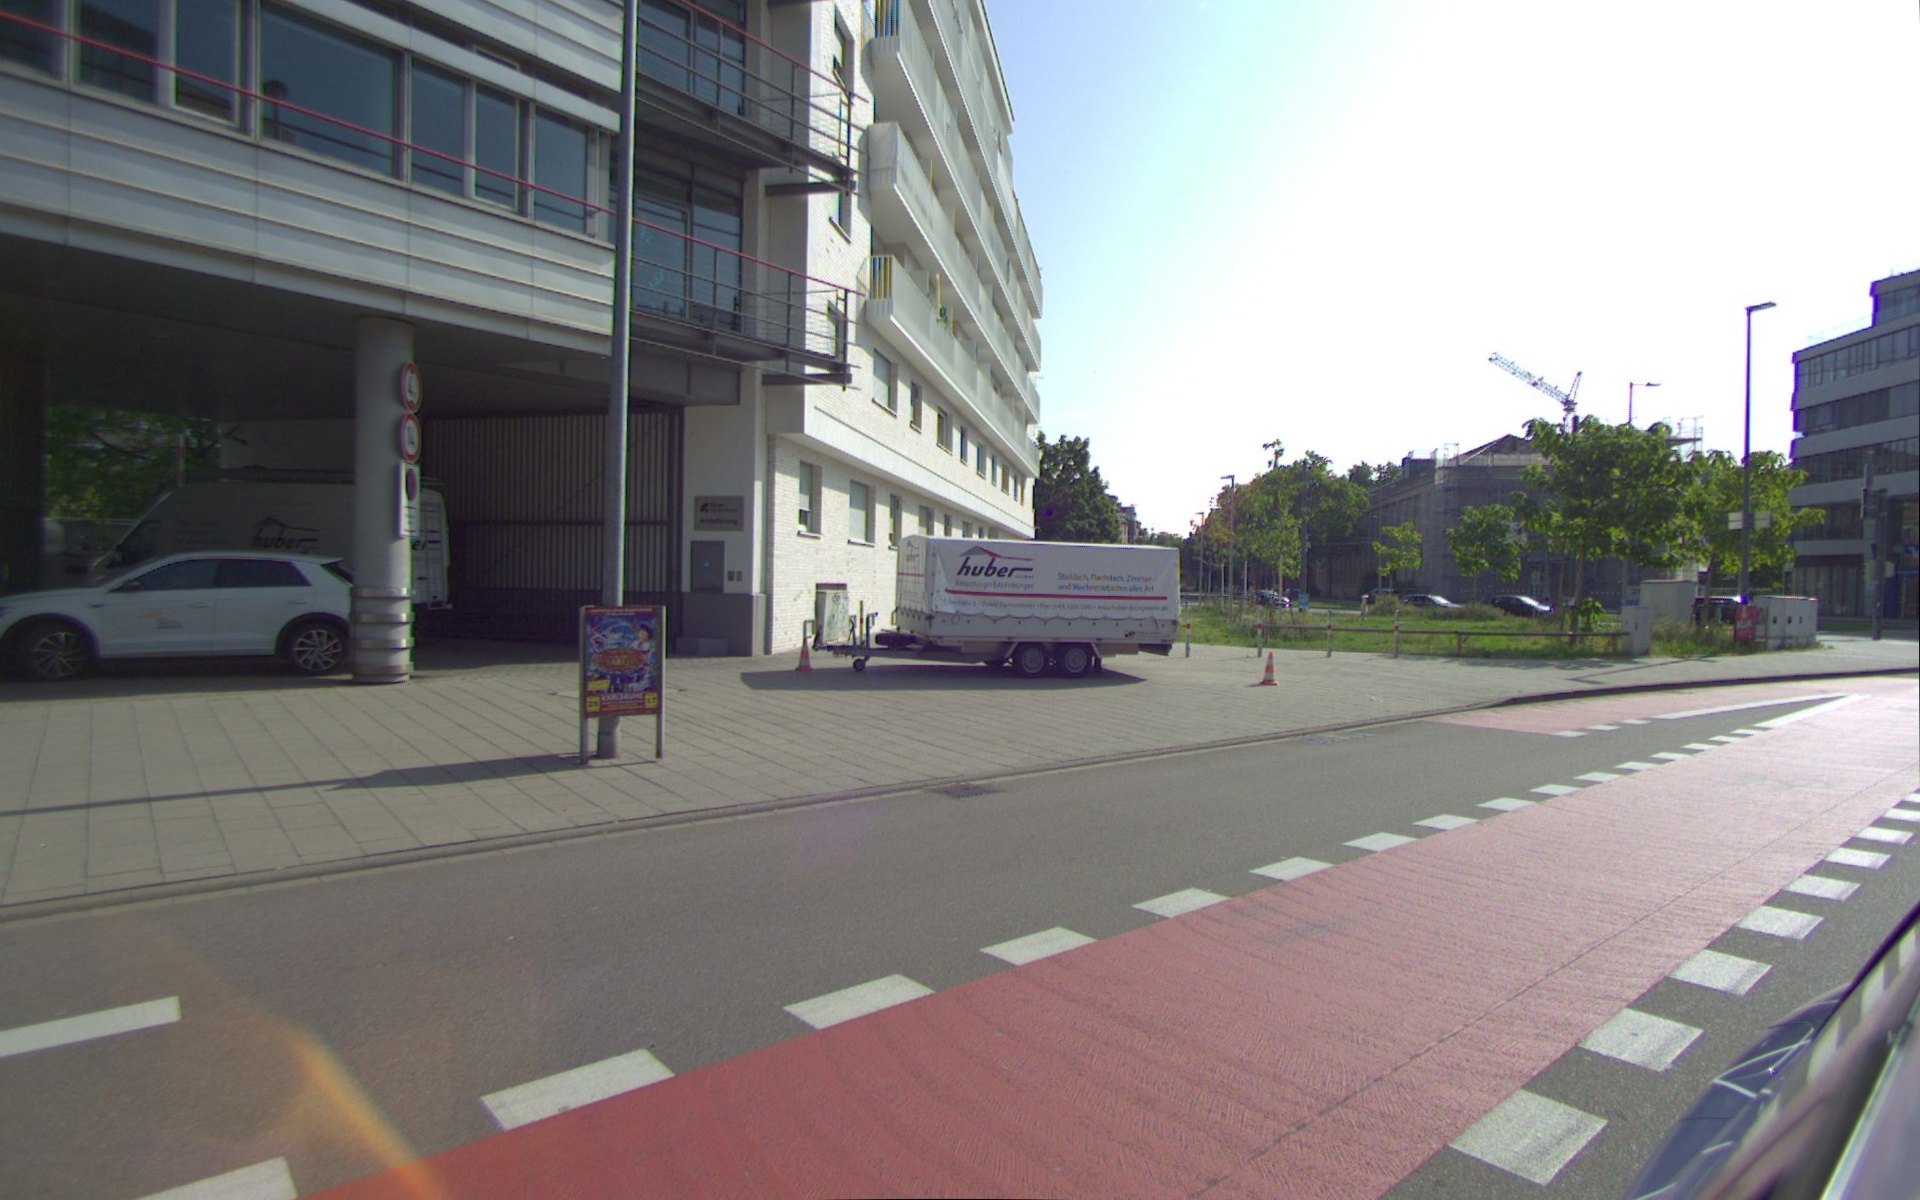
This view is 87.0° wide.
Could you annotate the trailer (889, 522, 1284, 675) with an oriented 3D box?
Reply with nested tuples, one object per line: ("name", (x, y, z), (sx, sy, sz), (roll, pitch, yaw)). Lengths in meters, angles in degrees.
("trailer", (1.970, -0.014, 16.364), (5.824, 2.178, 2.402), (1, 1, -16))

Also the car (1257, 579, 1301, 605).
("car", (26.400, -0.667, 83.929), (1.959, 2.039, 4.006), (1, 1, -8))

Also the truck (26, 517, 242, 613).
("truck", (-17.693, -0.724, 21.881), (3.282, 1.923, 1.756), (1, 1, -26))

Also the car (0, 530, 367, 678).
("car", (-9.691, 0.051, 12.582), (3.921, 1.609, 1.751), (1, 1, -33))

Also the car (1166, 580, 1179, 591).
("car", (39.420, -2.658, 187.542), (1.966, 2.003, 3.993), (0, 2, 7))

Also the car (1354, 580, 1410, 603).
("car", (37.779, -0.789, 90.695), (1.914, 1.805, 4.827), (-1, 2, -18))

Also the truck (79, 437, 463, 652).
("truck", (-11.894, -1.022, 17.499), (6.065, 3.134, 1.992), (4, 3, 15))
